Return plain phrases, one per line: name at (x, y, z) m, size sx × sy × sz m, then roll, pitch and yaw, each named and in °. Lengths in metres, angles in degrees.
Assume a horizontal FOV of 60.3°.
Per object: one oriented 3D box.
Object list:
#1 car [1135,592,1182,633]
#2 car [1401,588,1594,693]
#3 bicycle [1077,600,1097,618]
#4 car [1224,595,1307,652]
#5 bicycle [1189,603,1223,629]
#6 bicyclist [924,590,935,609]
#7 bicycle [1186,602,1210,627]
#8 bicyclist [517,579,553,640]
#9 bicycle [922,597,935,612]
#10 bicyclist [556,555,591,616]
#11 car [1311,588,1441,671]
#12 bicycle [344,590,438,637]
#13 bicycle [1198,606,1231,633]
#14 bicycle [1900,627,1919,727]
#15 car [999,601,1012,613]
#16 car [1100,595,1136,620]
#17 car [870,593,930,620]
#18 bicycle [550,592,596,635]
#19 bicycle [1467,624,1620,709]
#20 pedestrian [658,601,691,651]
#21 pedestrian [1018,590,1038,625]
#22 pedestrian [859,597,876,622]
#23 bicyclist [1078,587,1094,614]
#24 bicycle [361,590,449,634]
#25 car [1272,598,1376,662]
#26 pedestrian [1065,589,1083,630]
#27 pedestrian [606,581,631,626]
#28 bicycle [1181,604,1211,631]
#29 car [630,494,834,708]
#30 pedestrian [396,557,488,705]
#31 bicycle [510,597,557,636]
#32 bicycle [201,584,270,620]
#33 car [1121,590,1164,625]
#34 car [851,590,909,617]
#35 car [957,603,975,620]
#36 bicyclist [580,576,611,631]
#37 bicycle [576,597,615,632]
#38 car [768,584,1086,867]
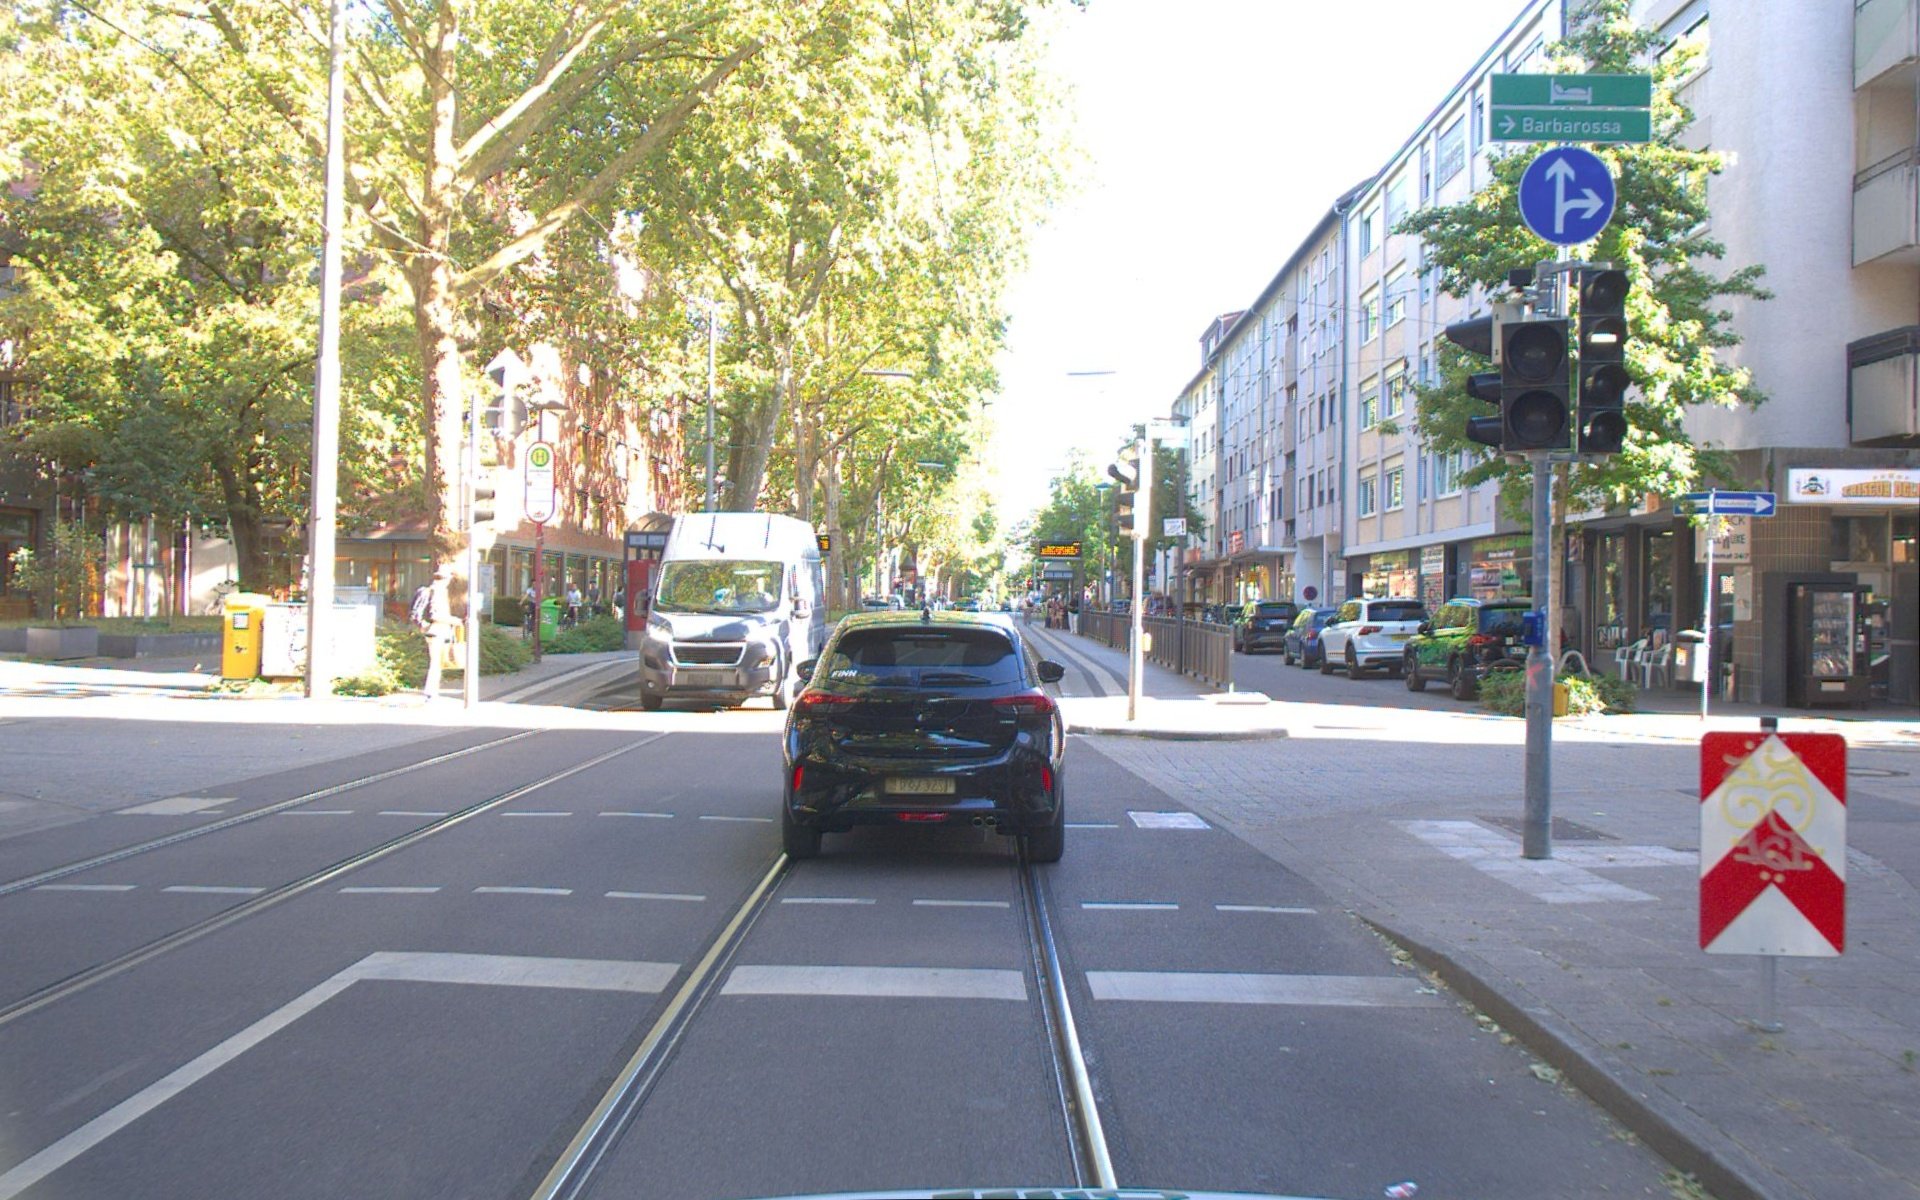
car at (10.294, 0.651, 85.982) m, size 1.952 × 1.986 × 4.000 m, roll 2°, pitch -1°, yaw 0°
car at (9.119, 0.662, 28.473) m, size 1.952 × 1.644 × 4.445 m, roll 1°, pitch -1°, yaw 1°
bicycle at (8.308, 0.591, 108.314) m, size 0.844 × 1.156 × 2.393 m, roll 2°, pitch -1°, yaw -5°
car at (9.495, 0.717, 51.676) m, size 1.819 × 1.644 × 4.398 m, roll 2°, pitch -1°, yaw 1°
bicycle at (11.145, 0.711, 74.960) m, size 0.600 × 1.156 × 2.914 m, roll 2°, pitch -1°, yaw -10°
bicyclist at (-2.780, -0.037, 151.175) m, size 0.921 × 1.732 × 1.153 m, roll 2°, pitch -1°, yaw 4°
bicycle at (11.182, 0.694, 77.767) m, size 0.402 × 1.156 × 2.199 m, roll 2°, pitch -1°, yaw -10°
bicyclist at (-12.638, 0.291, 49.207) m, size 0.759 × 1.780 × 0.997 m, roll 2°, pitch -1°, yaw -1°
bicycle at (-2.858, 0.405, 150.265) m, size 0.935 × 1.262 × 2.979 m, roll 2°, pitch -1°, yaw 4°
bicyclist at (-11.449, -0.421, 49.031) m, size 0.766 × 1.794 × 0.951 m, roll 2°, pitch -1°, yaw -2°
car at (8.888, 0.621, 35.692) m, size 1.762 × 1.634 × 4.415 m, roll 2°, pitch -1°, yaw 1°
bicycle at (-16.323, 0.387, 47.475) m, size 2.407 × 1.240 × 0.682 m, roll 3°, pitch -1°, yaw 1°
bicycle at (10.919, 0.826, 71.020) m, size 0.610 × 1.156 × 2.433 m, roll 2°, pitch -1°, yaw -10°
bicycle at (12.782, 0.977, 20.600) m, size 1.876 × 1.229 × 0.511 m, roll 2°, pitch -1°, yaw -3°
car at (6.498, 1.024, 238.388) m, size 1.710 × 1.571 × 3.999 m, roll 2°, pitch -1°, yaw 0°
car at (10.027, 0.506, 104.959) m, size 1.952 × 1.512 × 4.000 m, roll 2°, pitch -1°, yaw 1°
car at (-4.205, 0.479, 115.714) m, size 4.035 × 1.730 × 1.881 m, roll 2°, pitch -1°, yaw -6°
bicycle at (-11.469, 0.397, 49.084) m, size 0.766 × 1.212 × 2.595 m, roll 2°, pitch -1°, yaw -2°
bicycle at (8.853, 0.995, 25.153) m, size 2.081 × 1.208 × 0.681 m, roll 2°, pitch -1°, yaw 9°
pedestrian at (-6.959, 0.633, 40.302) m, size 0.691 × 1.189 × 0.659 m, roll 0°, pitch -1°, yaw -2°
pedestrian at (3.480, 0.385, 84.634) m, size 0.737 × 1.739 × 0.760 m, roll 1°, pitch -1°, yaw 36°
pedestrian at (-6.620, 0.663, 118.440) m, size 1.141 × 1.779 × 0.957 m, roll 2°, pitch -1°, yaw -4°
bicyclist at (8.303, 0.035, 108.598) m, size 0.844 × 1.790 × 1.052 m, roll 2°, pitch -1°, yaw -5°
bicycle at (-16.216, 0.356, 48.372) m, size 2.292 × 1.186 × 0.682 m, roll 2°, pitch -1°, yaw 1°
car at (9.018, 0.735, 41.271) m, size 1.708 × 1.465 × 4.247 m, roll 2°, pitch -1°, yaw 1°
pedestrian at (4.520, 0.375, 65.643) m, size 0.618 × 1.603 × 0.871 m, roll 3°, pitch 0°, yaw 1°
pedestrian at (-13.375, 0.139, 64.782) m, size 0.720 × 1.701 × 0.861 m, roll 2°, pitch -1°, yaw 1°
bicycle at (10.467, 0.765, 73.511) m, size 0.591 × 1.156 × 2.429 m, roll 2°, pitch -1°, yaw -10°
car at (-3.195, 0.042, 24.559) m, size 2.070 × 2.786 × 6.115 m, roll 0°, pitch -1°, yaw 1°
pedestrian at (-6.797, 0.389, 21.738) m, size 0.905 × 1.867 × 0.920 m, roll 2°, pitch 2°, yaw -3°
bicycle at (-12.658, 0.488, 49.194) m, size 0.766 × 1.130 × 2.595 m, roll 2°, pitch -1°, yaw -2°
bicycle at (-23.428, 0.064, 53.501) m, size 1.908 × 1.092 × 0.762 m, roll 2°, pitch -1°, yaw -15°
car at (10.159, 0.434, 92.528) m, size 1.952 × 1.829 × 4.000 m, roll 2°, pitch -1°, yaw 0°
car at (-6.163, 0.288, 127.544) m, size 4.300 × 1.884 × 1.997 m, roll 2°, pitch -1°, yaw -6°
car at (0.555, 1.149, 164.861) m, size 1.710 × 1.571 × 3.999 m, roll 2°, pitch -1°, yaw 0°
bicyclist at (-12.135, 0.113, 55.109) m, size 0.759 × 1.780 × 0.997 m, roll 2°, pitch -1°, yaw -1°
bicycle at (-12.151, 0.490, 55.270) m, size 0.766 × 1.130 × 2.595 m, roll 2°, pitch -1°, yaw -2°
car at (-0.206, 0.703, 10.874) m, size 1.724 × 1.534 × 3.682 m, roll 0°, pitch -1°, yaw -1°
